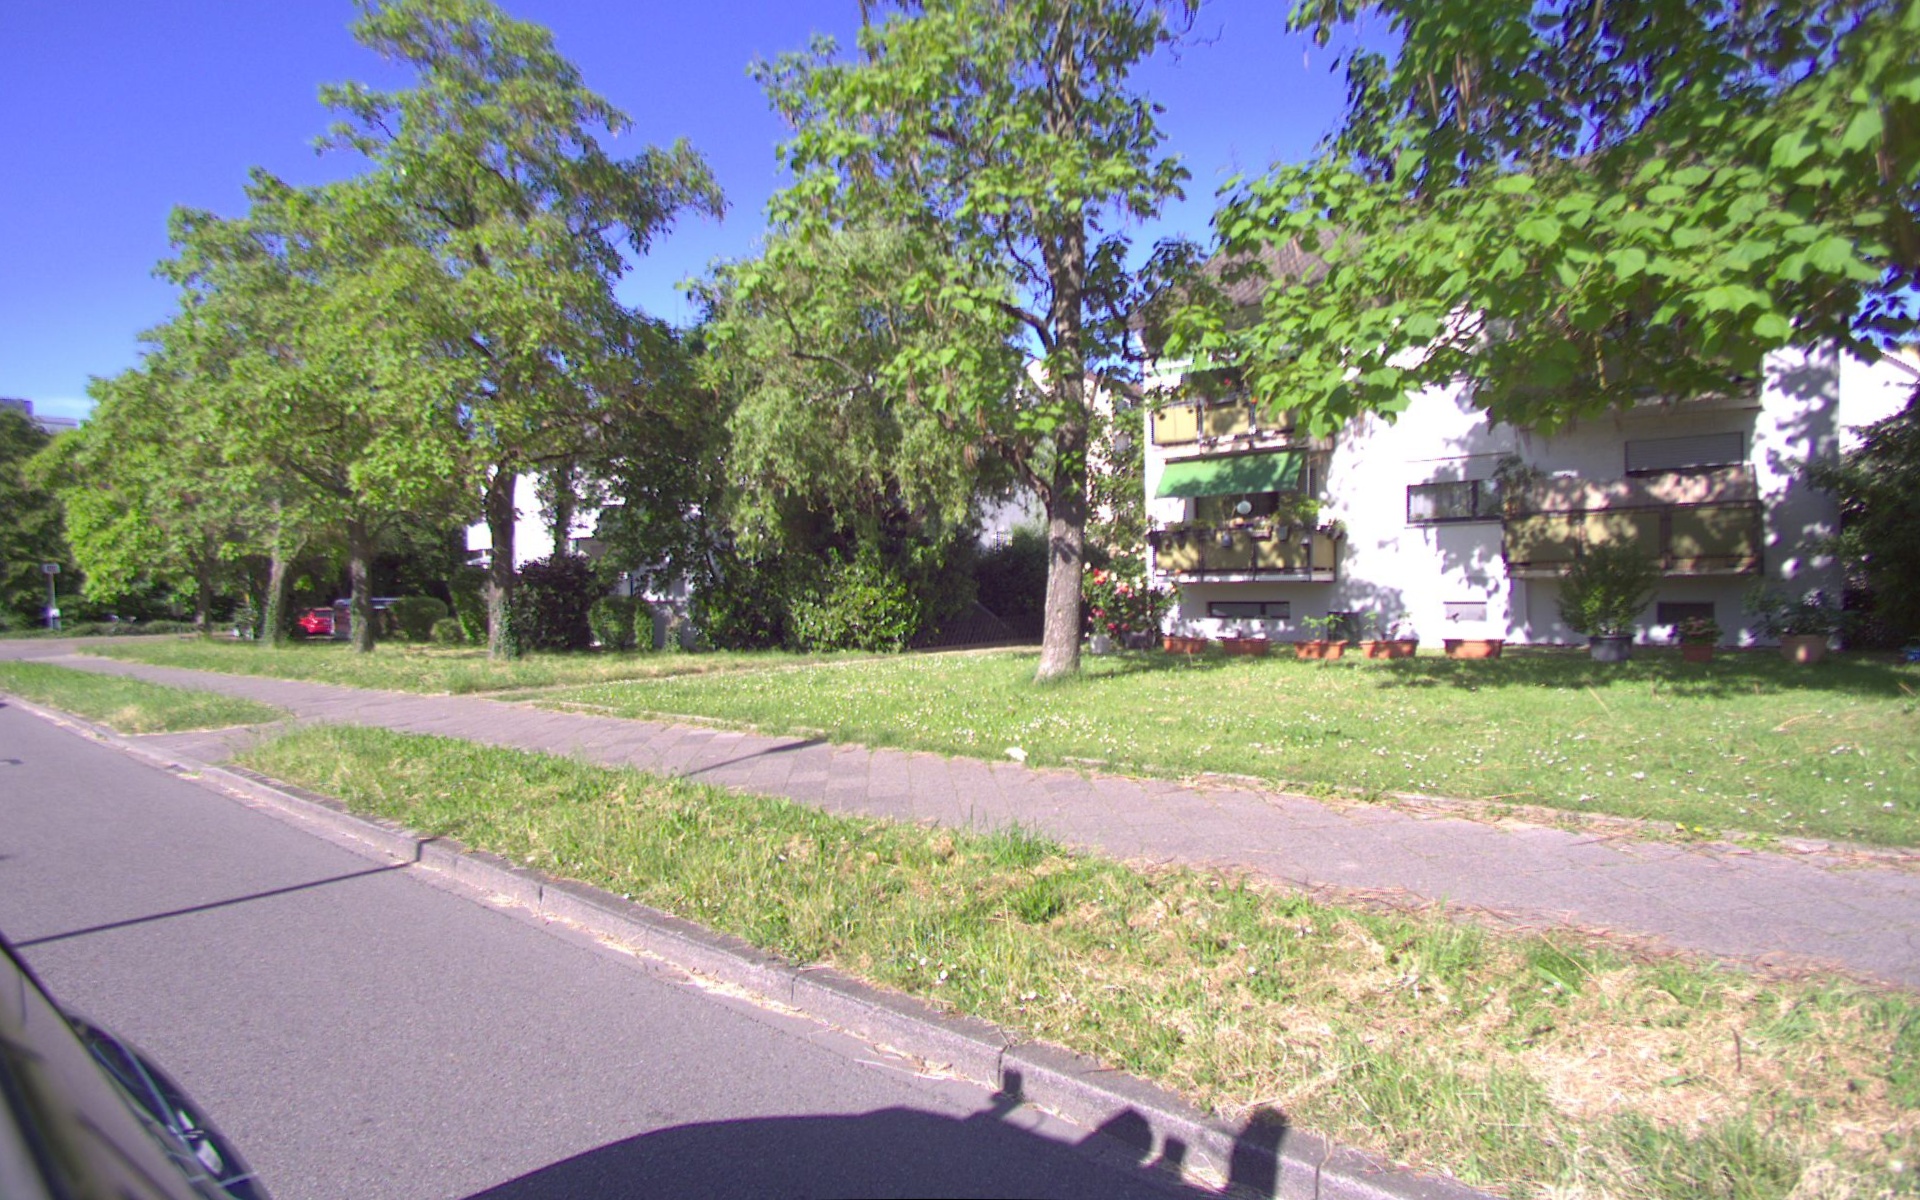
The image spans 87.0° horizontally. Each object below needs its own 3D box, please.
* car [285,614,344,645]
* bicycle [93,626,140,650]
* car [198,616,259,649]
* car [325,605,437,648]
[{"bbox_3d":[-35.452,1.605,55.547,3.883,1.498,1.653,1,1,40],"label":"car"},{"bbox_3d":[-44.113,1.979,52.947,1.875,1.161,0.762,-1,3,-39],"label":"bicycle"},{"bbox_3d":[-38.037,1.654,52.592,3.883,1.498,1.653,1,1,40],"label":"car"},{"bbox_3d":[-28.548,1.284,49.982,2.069,1.984,4.402,-3,-1,43],"label":"car"}]
